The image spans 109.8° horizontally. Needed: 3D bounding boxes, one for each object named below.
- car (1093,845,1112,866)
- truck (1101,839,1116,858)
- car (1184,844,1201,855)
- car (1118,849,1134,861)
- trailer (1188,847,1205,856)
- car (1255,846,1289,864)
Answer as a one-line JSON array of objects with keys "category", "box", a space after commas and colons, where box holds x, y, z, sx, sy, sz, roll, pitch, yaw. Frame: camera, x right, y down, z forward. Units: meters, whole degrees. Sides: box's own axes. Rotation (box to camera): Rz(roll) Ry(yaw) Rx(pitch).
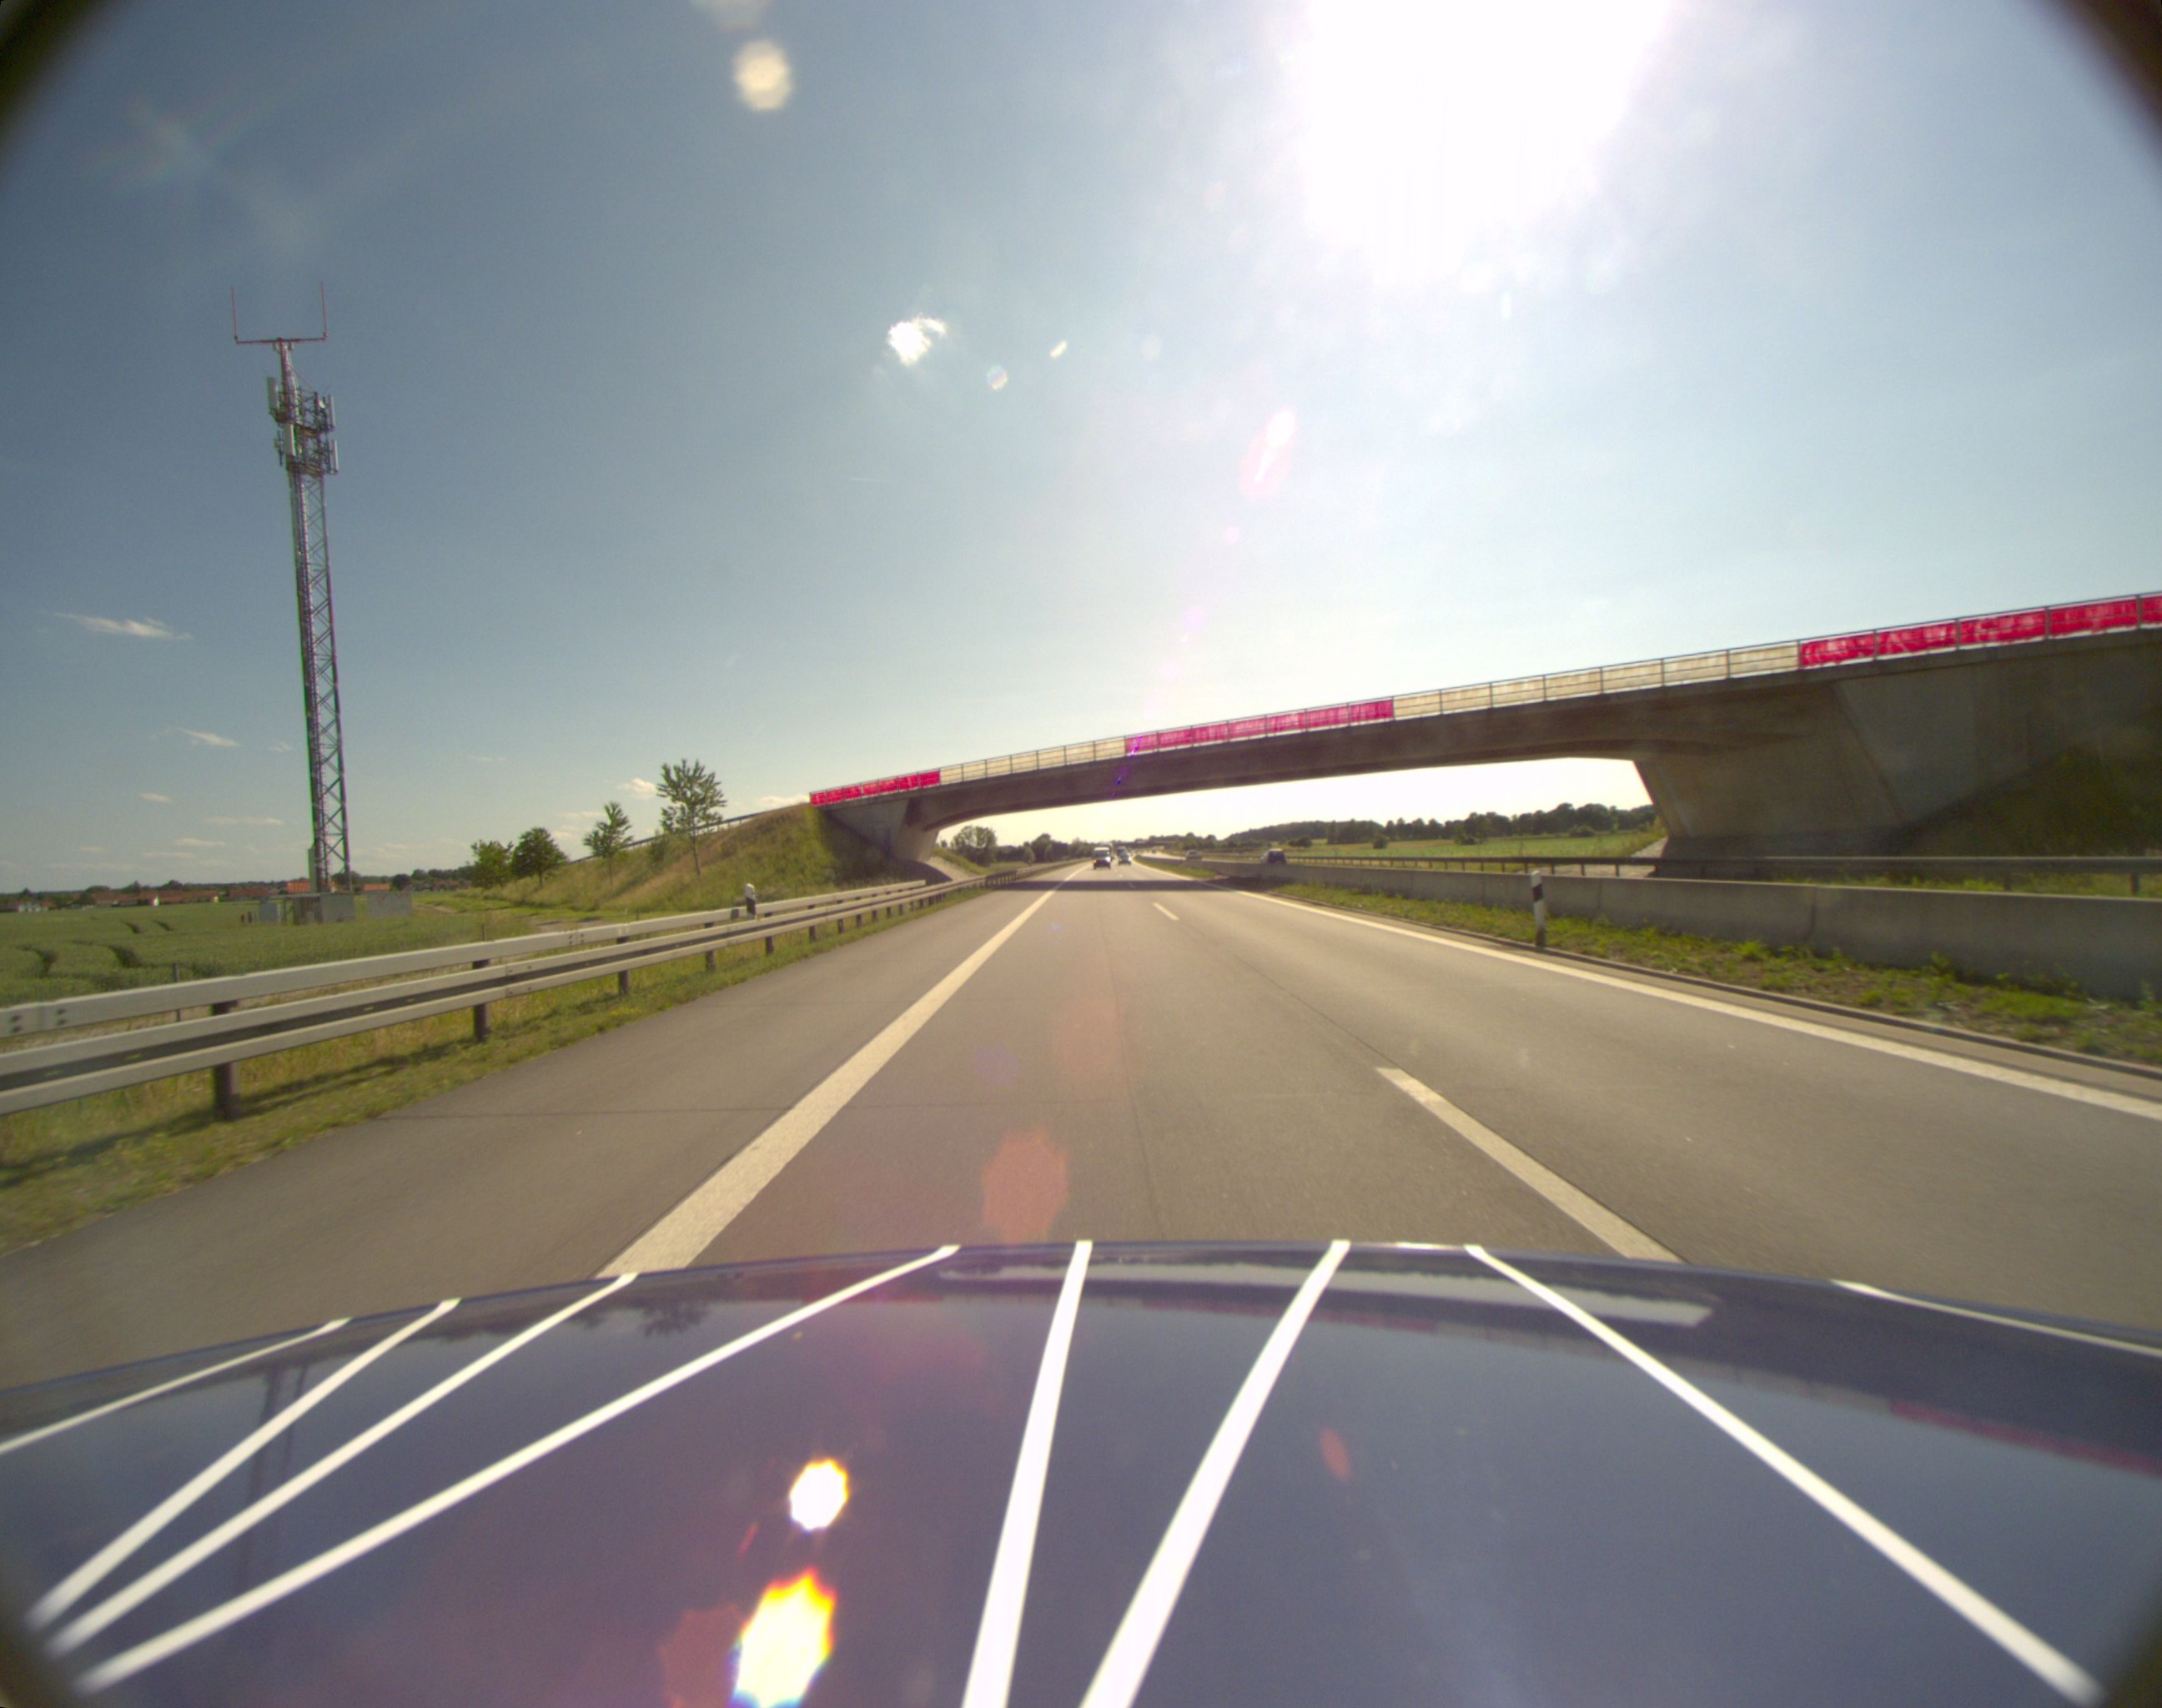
[{"category": "car", "box": [2.421, 0.186, 84.859, 2.030, 2.225, 4.818, -2, 0, 2]}, {"category": "truck", "box": [5.785, -1.154, 160.652, 2.762, 3.792, 7.518, -3, 1, 3]}, {"category": "car", "box": [18.094, -0.720, 123.289, 1.998, 1.721, 5.587, -3, 0, 2]}, {"category": "car", "box": [6.379, 0.117, 108.310, 2.030, 1.600, 4.818, -1, 0, 1]}, {"category": "trailer", "box": [17.970, -0.378, 118.354, 1.998, 1.250, 4.262, -3, 0, 1]}, {"category": "car", "box": [16.488, 0.061, 65.867, 1.859, 1.452, 4.195, -2, 0, 1]}]
